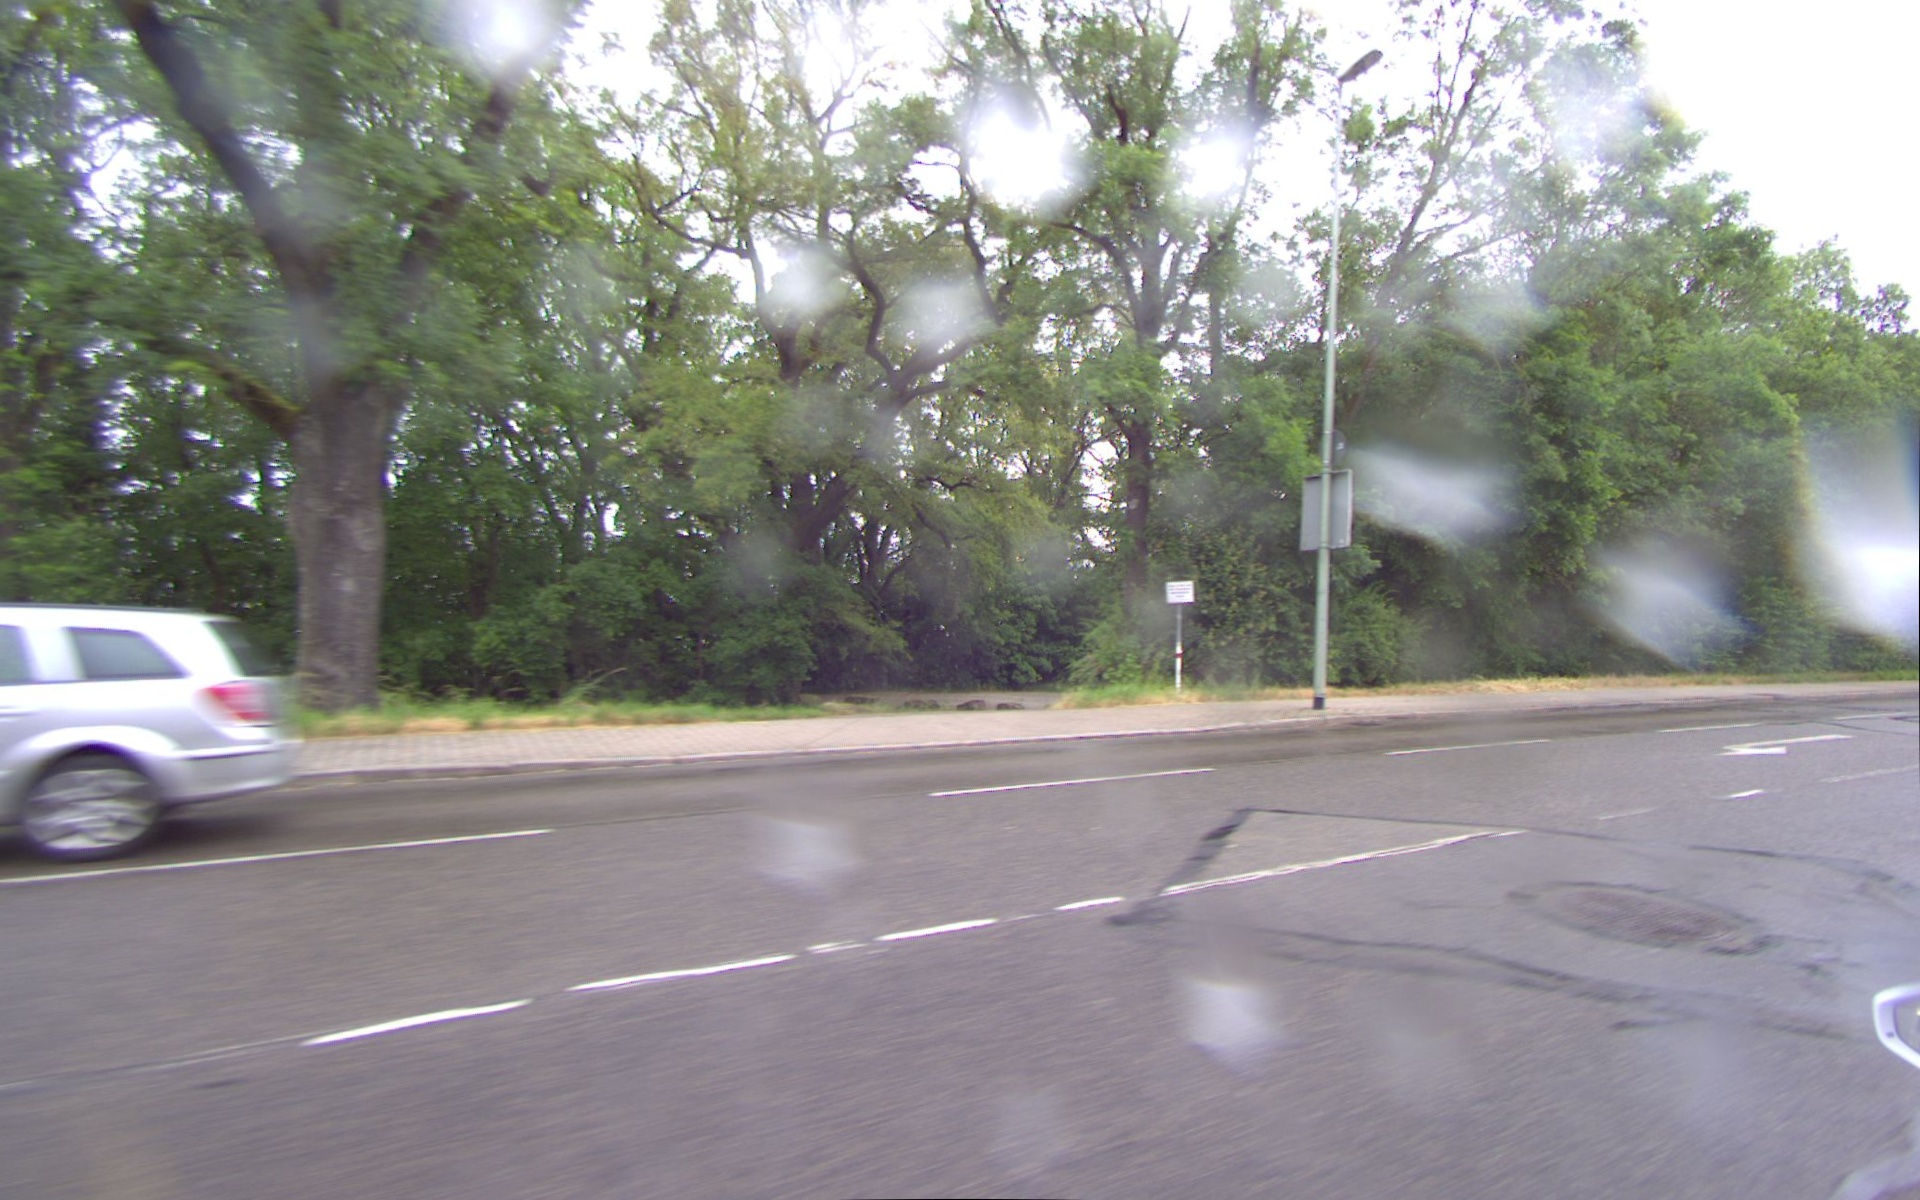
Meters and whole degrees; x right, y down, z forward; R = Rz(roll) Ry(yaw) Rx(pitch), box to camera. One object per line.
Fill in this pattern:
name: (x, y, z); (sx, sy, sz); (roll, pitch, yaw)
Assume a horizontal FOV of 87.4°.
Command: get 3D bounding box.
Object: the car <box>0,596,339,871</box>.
car: (-6.272, 0.753, 5.875); (4.400, 1.502, 1.682); (1, -3, -30)
